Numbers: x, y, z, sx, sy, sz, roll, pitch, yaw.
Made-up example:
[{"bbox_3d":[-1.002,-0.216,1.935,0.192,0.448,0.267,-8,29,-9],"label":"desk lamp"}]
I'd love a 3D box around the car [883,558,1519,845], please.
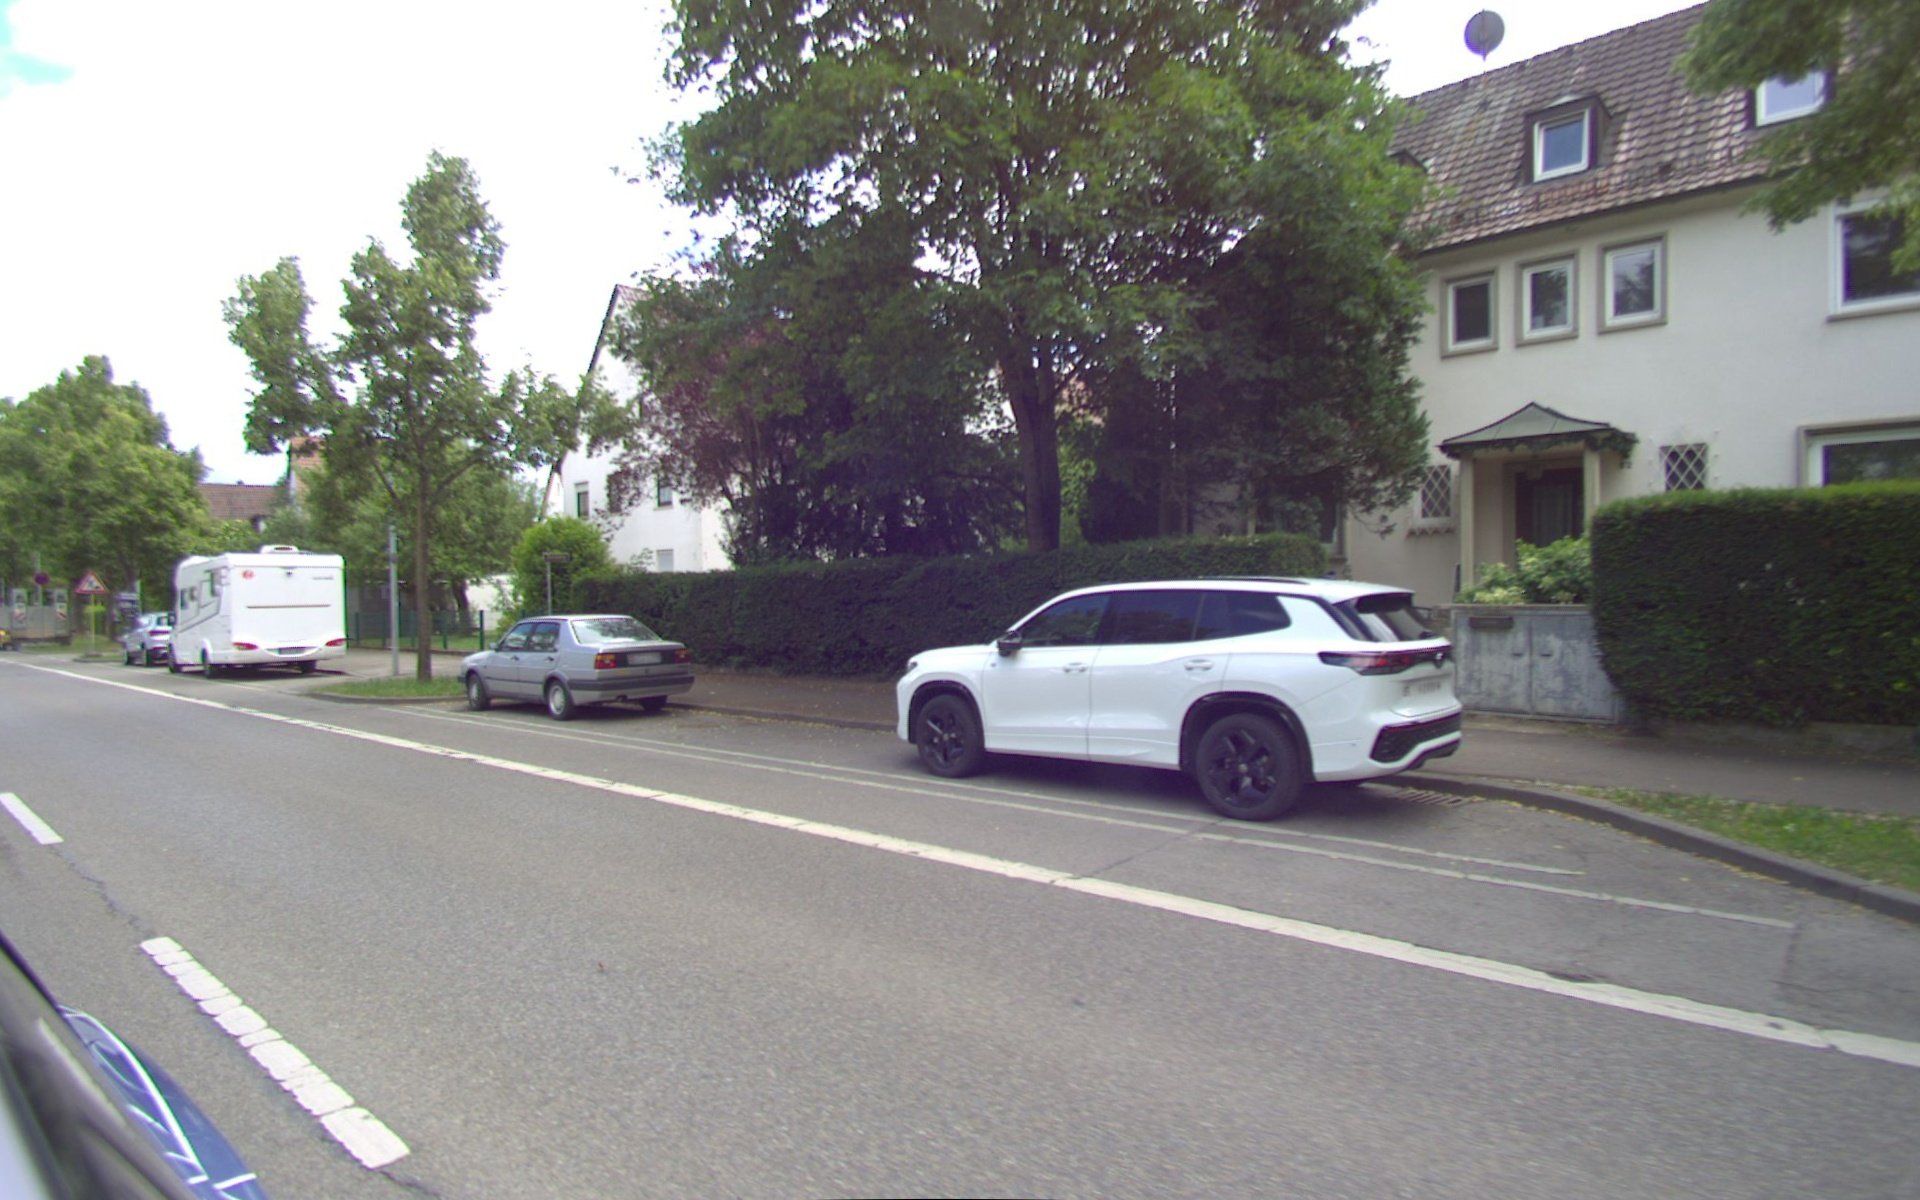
[{"bbox_3d":[1.643,0.613,8.147,4.699,1.664,1.797,-1,0,43],"label":"car"}]

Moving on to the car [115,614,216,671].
[{"bbox_3d":[-24.309,1.254,30.916,4.271,1.612,1.704,-1,0,42],"label":"car"}]

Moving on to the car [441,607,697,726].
[{"bbox_3d":[-5.842,0.884,14.852,4.448,1.481,1.540,-1,0,40],"label":"car"}]

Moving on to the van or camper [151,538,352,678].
[{"bbox_3d":[-17.948,0.231,25.398,7.690,3.032,2.410,-1,0,42],"label":"van or camper"}]

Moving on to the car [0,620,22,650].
[{"bbox_3d":[-57.052,2.077,59.855,4.618,1.564,1.841,1,2,42],"label":"car"}]

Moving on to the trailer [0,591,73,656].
[{"bbox_3d":[-46.297,1.092,49.997,7.471,2.963,2.646,0,1,41],"label":"trailer"}]
